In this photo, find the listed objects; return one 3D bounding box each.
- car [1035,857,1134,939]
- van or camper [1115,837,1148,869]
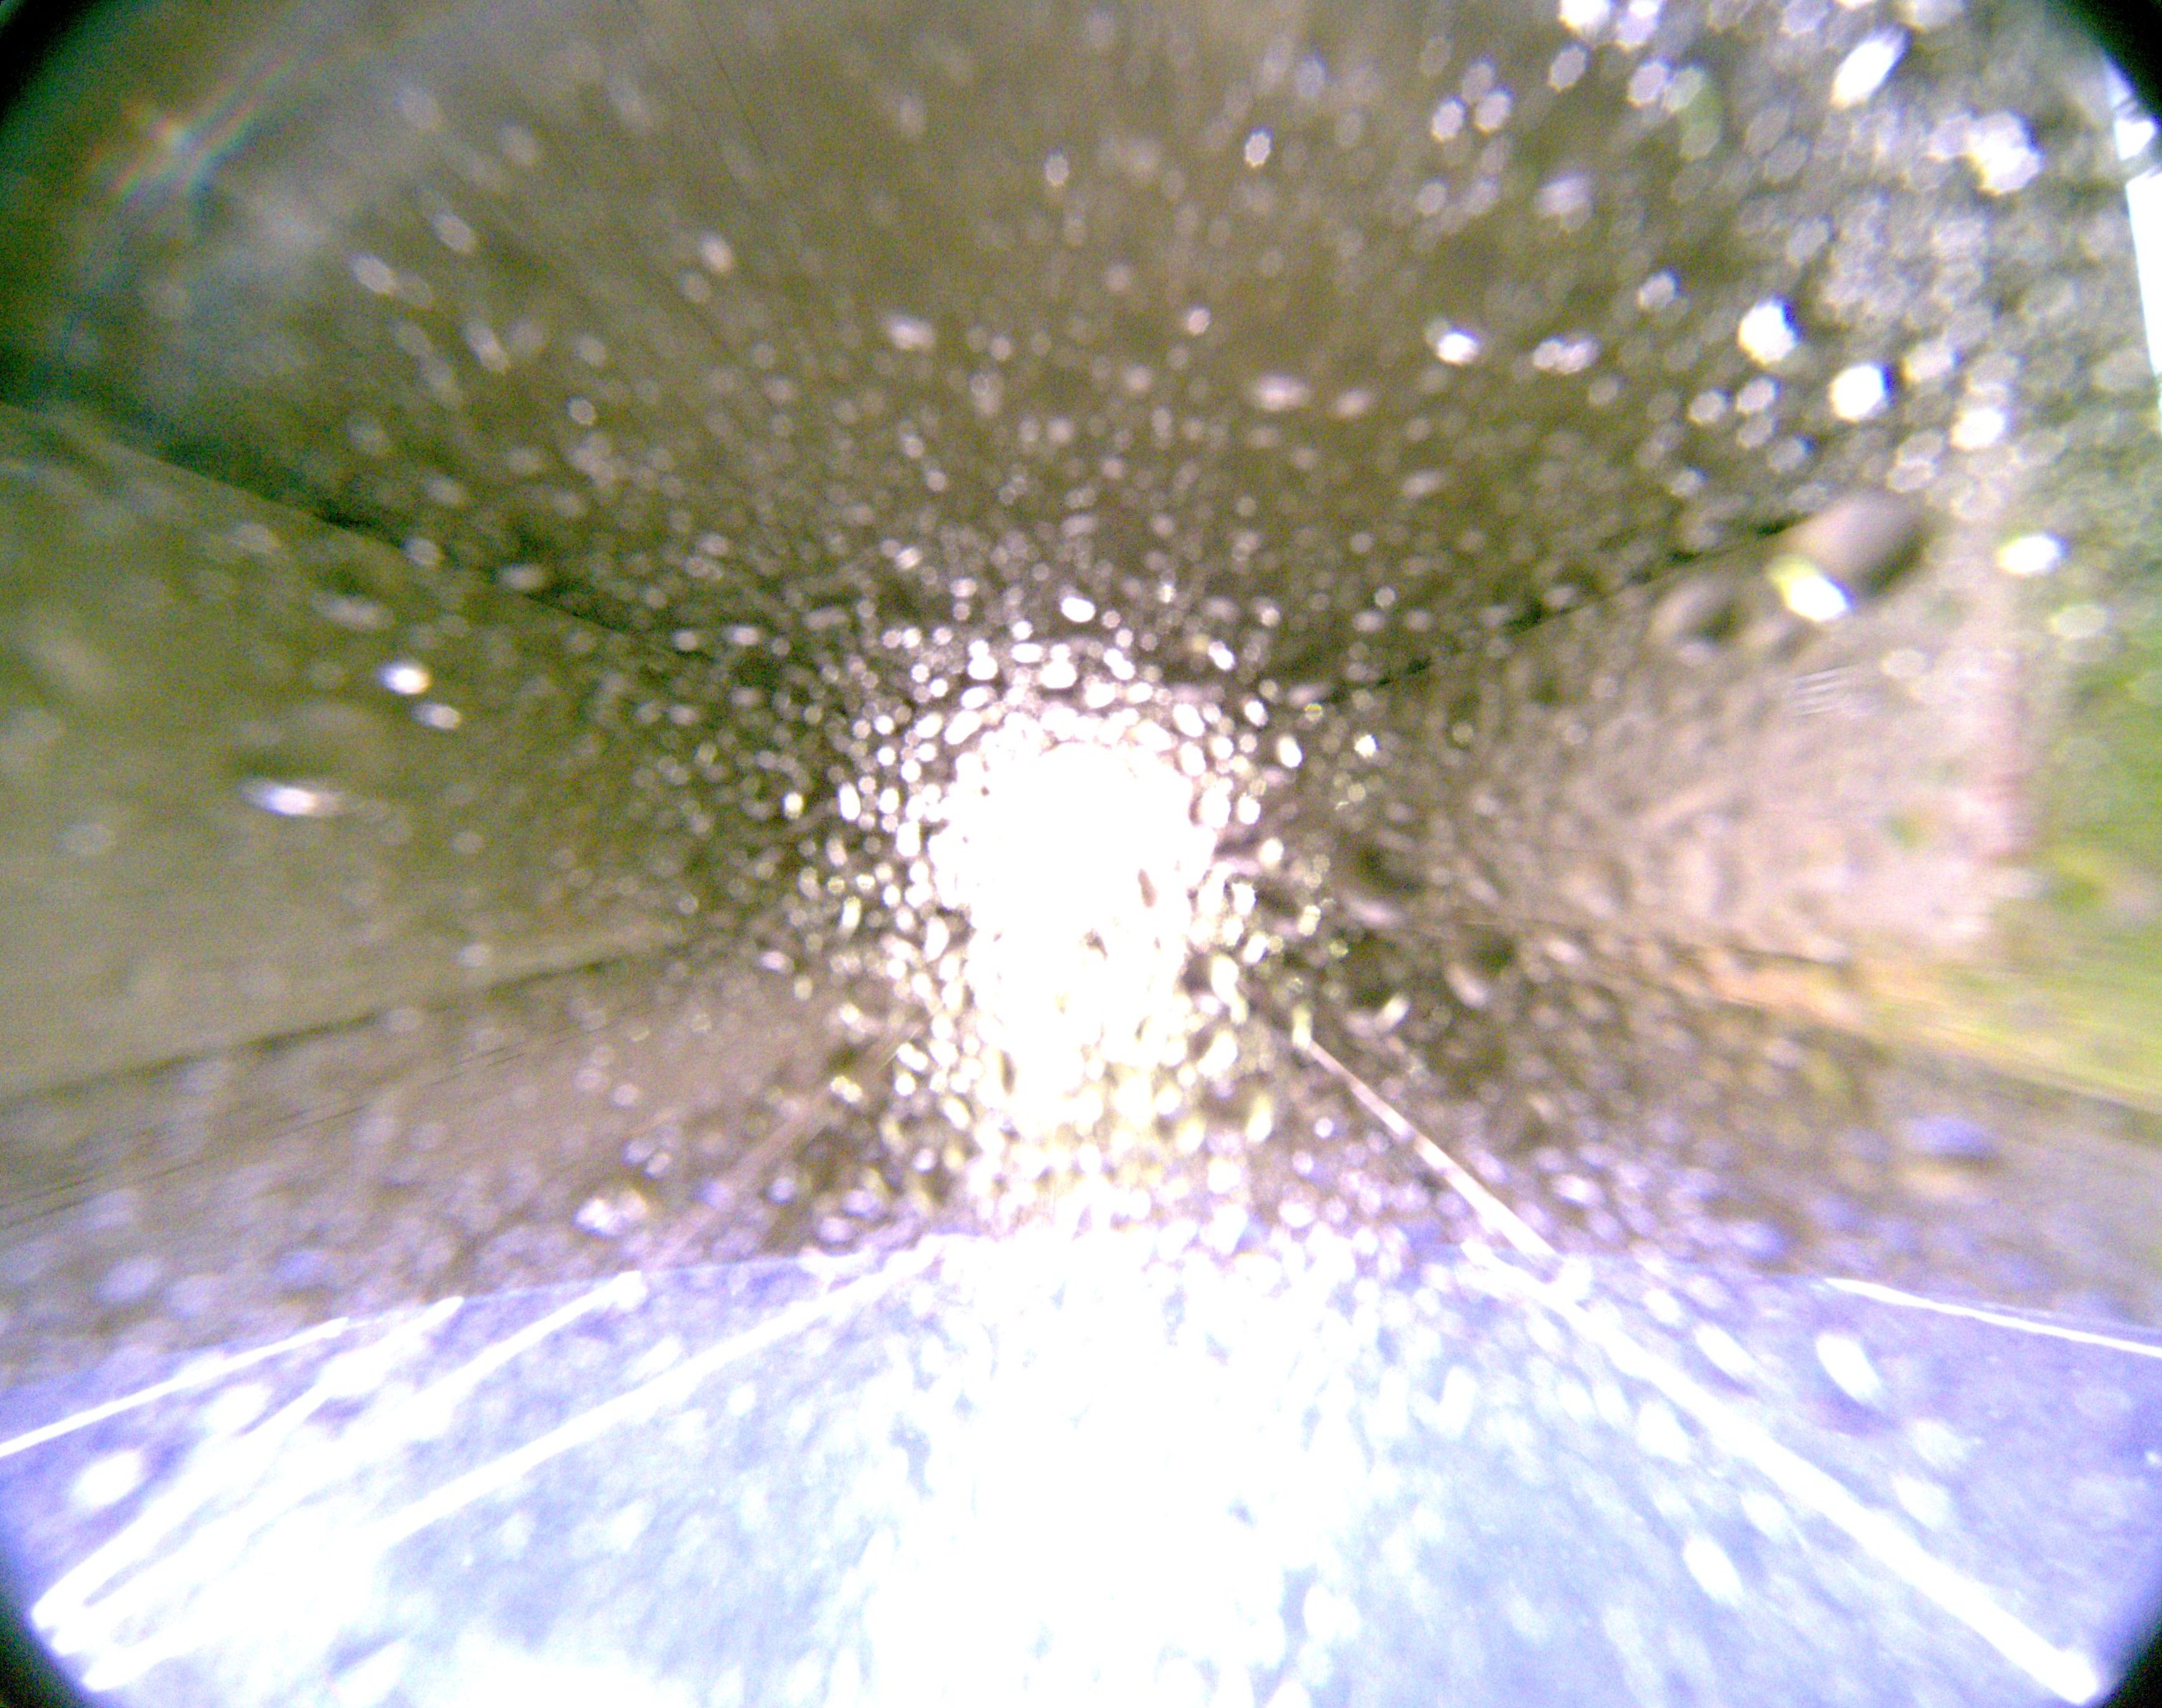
[{"bbox_3d":[-0.020,0.821,16.273,1.767,1.316,4.547,-3,1,-2],"label":"car"},{"bbox_3d":[3.564,-0.080,54.399,1.998,2.086,4.690,-3,1,1],"label":"van or camper"}]
